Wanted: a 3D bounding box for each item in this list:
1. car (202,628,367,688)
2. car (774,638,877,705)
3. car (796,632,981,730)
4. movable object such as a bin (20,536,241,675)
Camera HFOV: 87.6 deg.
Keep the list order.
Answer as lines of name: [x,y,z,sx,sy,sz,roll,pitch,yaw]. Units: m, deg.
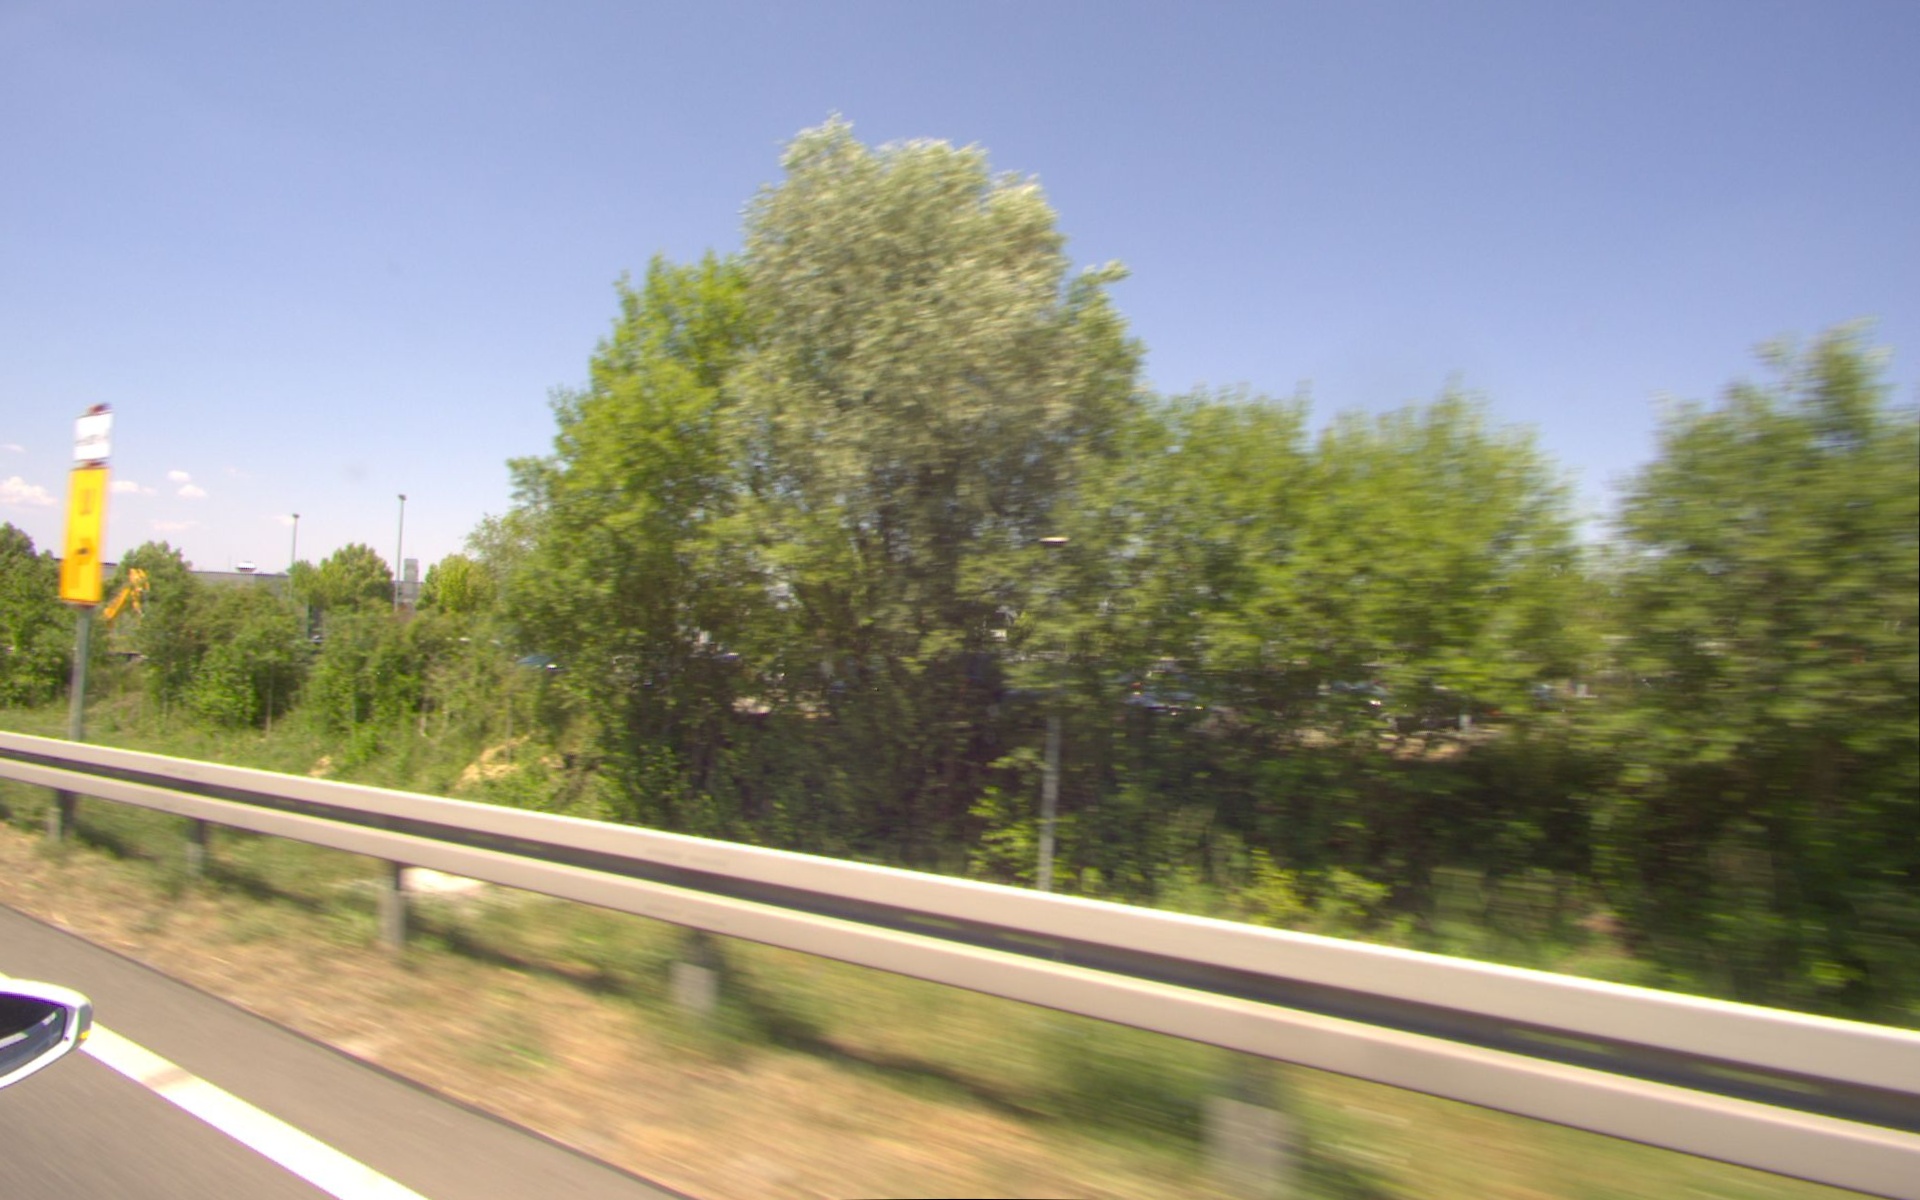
car: [-24.281,2.092,36.168,2.031,1.938,4.433,3,-2,27]
car: [-5.331,2.724,38.952,1.974,2.198,5.122,4,-2,-31]
car: [-1.573,1.885,23.936,1.970,1.993,4.674,3,-2,32]
movable object such as a bin: [-35.431,0.186,42.718,9.074,5.328,3.427,3,-1,25]
